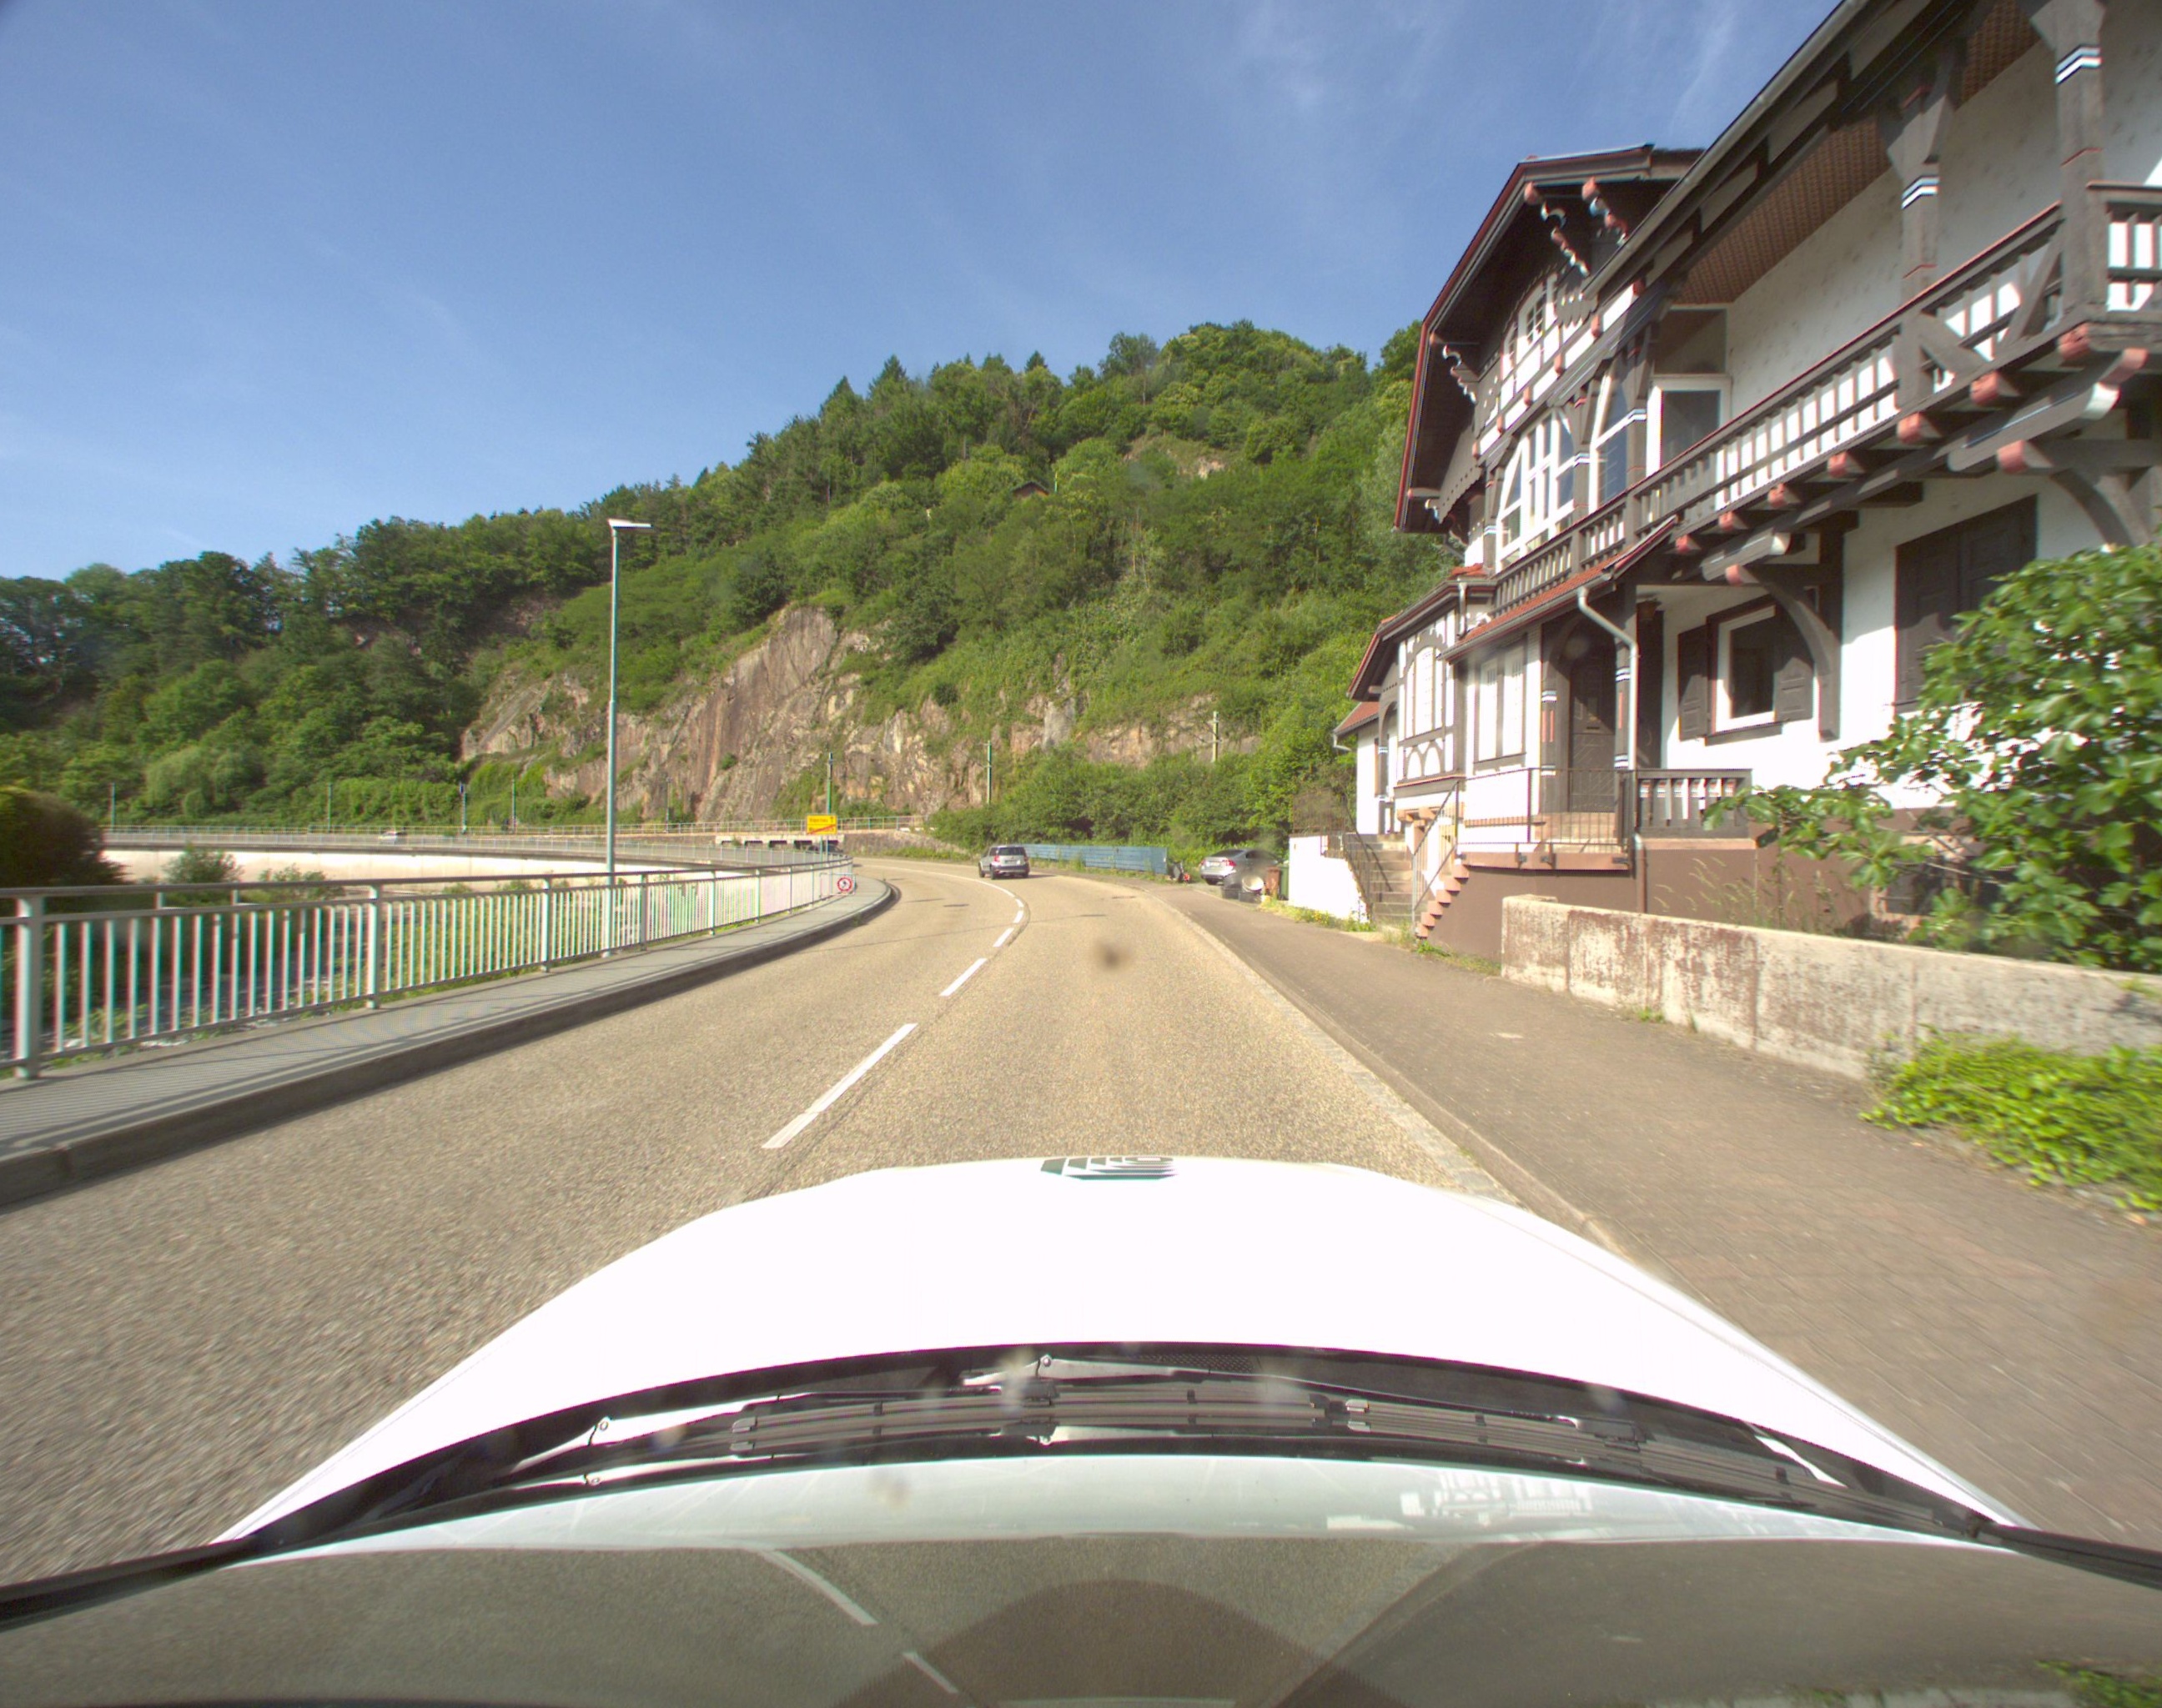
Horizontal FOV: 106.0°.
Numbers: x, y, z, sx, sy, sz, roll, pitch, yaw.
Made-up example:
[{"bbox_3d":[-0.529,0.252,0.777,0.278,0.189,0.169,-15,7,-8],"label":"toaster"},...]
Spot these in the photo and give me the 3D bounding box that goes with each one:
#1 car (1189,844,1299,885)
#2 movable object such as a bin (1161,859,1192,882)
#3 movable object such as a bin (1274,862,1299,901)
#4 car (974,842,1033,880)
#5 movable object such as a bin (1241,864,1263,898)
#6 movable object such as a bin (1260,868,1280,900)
[{"bbox_3d":[6.260,0.389,31.074,4.352,1.469,1.816,0,-1,-40],"label":"car"},{"bbox_3d":[3.777,0.650,32.479,0.853,0.847,2.536,2,0,-2],"label":"movable object such as a bin"},{"bbox_3d":[5.869,0.773,23.310,0.476,1.062,0.752,1,0,-2],"label":"movable object such as a bin"},{"bbox_3d":[-3.789,0.316,39.313,1.879,1.655,3.973,-2,1,-20],"label":"car"},{"bbox_3d":[4.921,0.775,23.451,0.470,0.937,0.652,1,0,-2],"label":"movable object such as a bin"},{"bbox_3d":[5.415,0.851,23.342,0.367,0.900,0.546,1,0,-9],"label":"movable object such as a bin"}]
